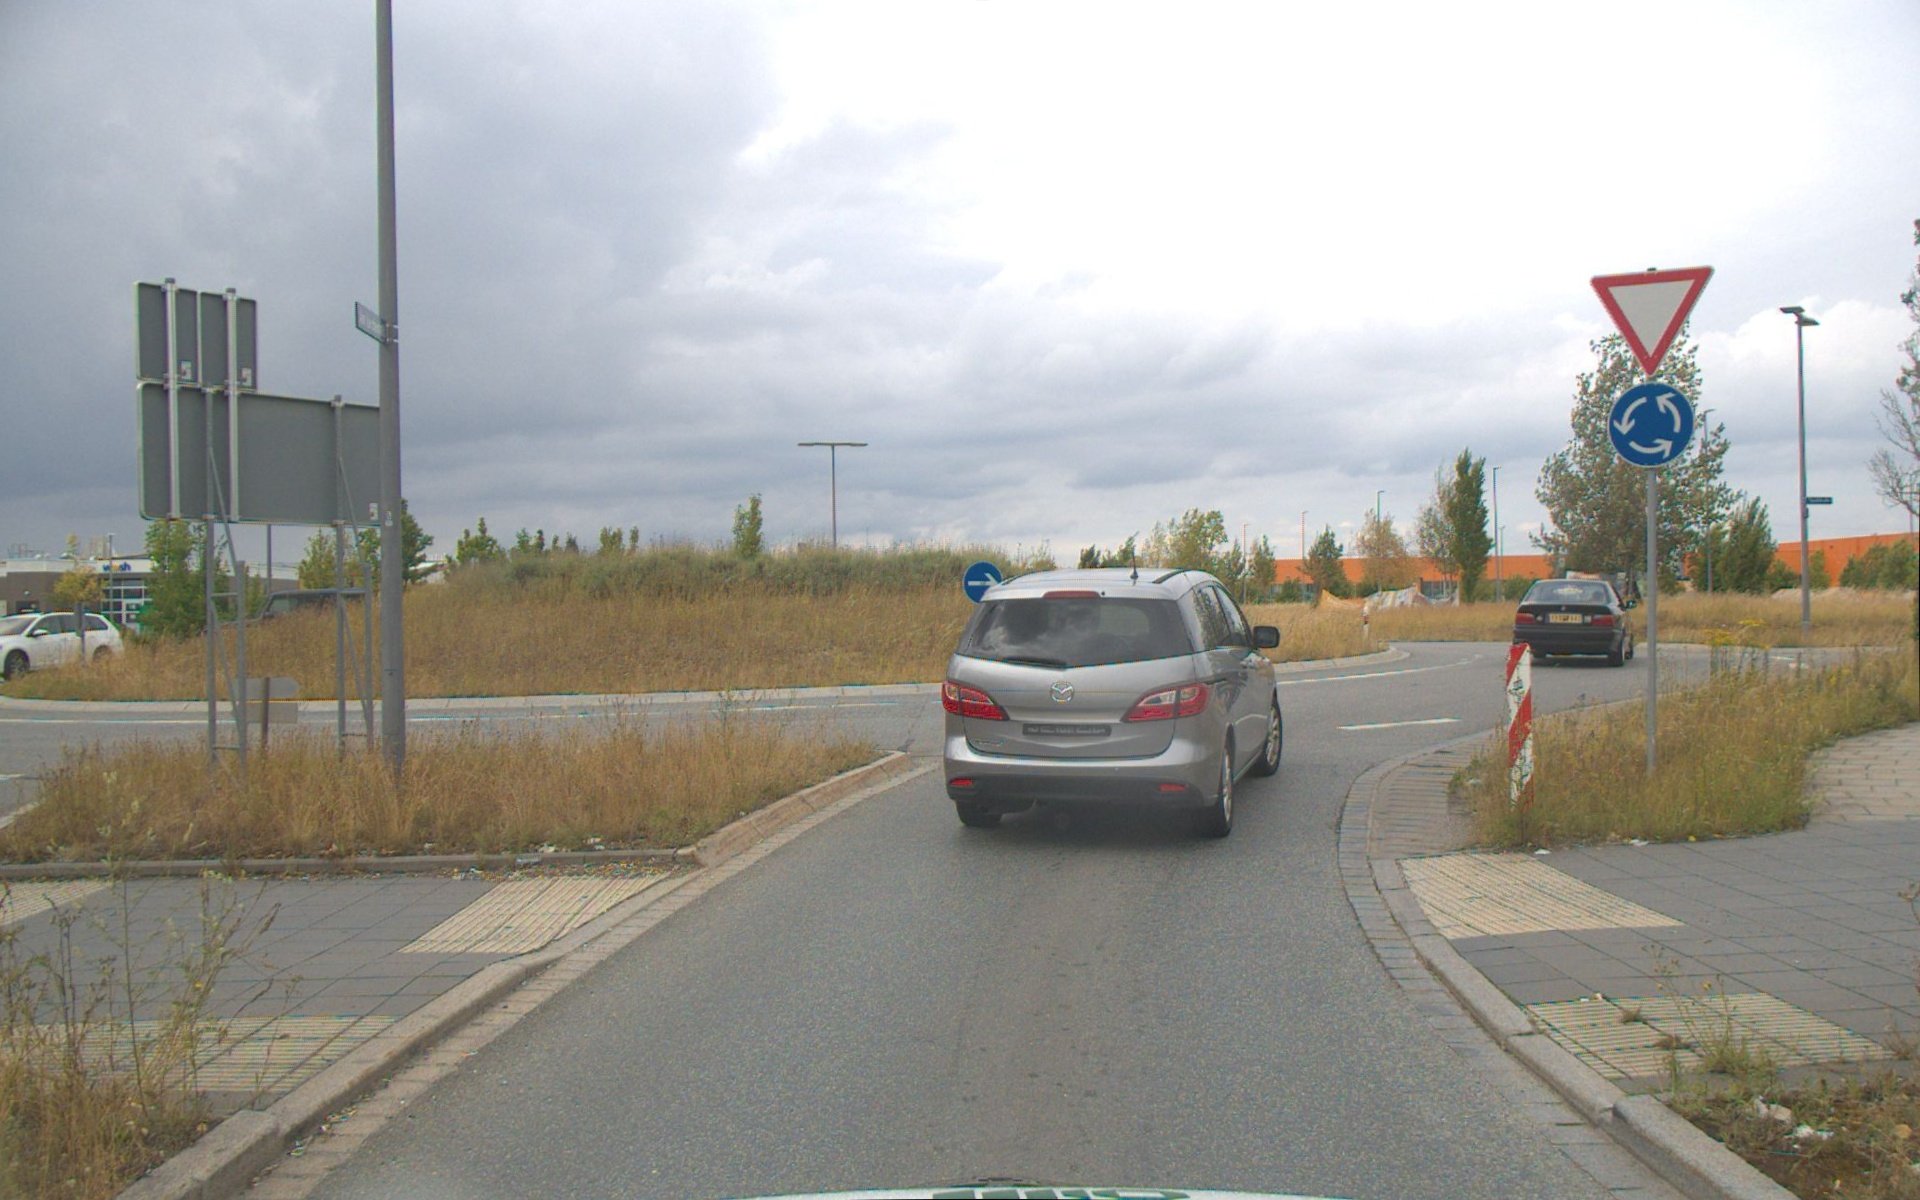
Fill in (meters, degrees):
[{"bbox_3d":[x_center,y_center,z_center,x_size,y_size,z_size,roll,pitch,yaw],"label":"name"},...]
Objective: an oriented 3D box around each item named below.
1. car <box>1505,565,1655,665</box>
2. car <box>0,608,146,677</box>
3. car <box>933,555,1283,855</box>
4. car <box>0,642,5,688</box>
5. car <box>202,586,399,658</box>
[{"bbox_3d":[10.081,0.178,26.732,1.705,1.428,3.992,1,2,29],"label":"car"},{"bbox_3d":[-20.326,0.940,36.481,1.685,1.433,4.647,0,-2,12],"label":"car"},{"bbox_3d":[1.193,0.527,11.307,1.701,1.626,4.001,0,2,15],"label":"car"},{"bbox_3d":[-29.883,1.941,47.908,3.707,1.324,1.480,-1,-1,-38],"label":"car"},{"bbox_3d":[-17.219,0.607,43.261,4.579,1.784,1.710,2,-2,-30],"label":"car"}]
